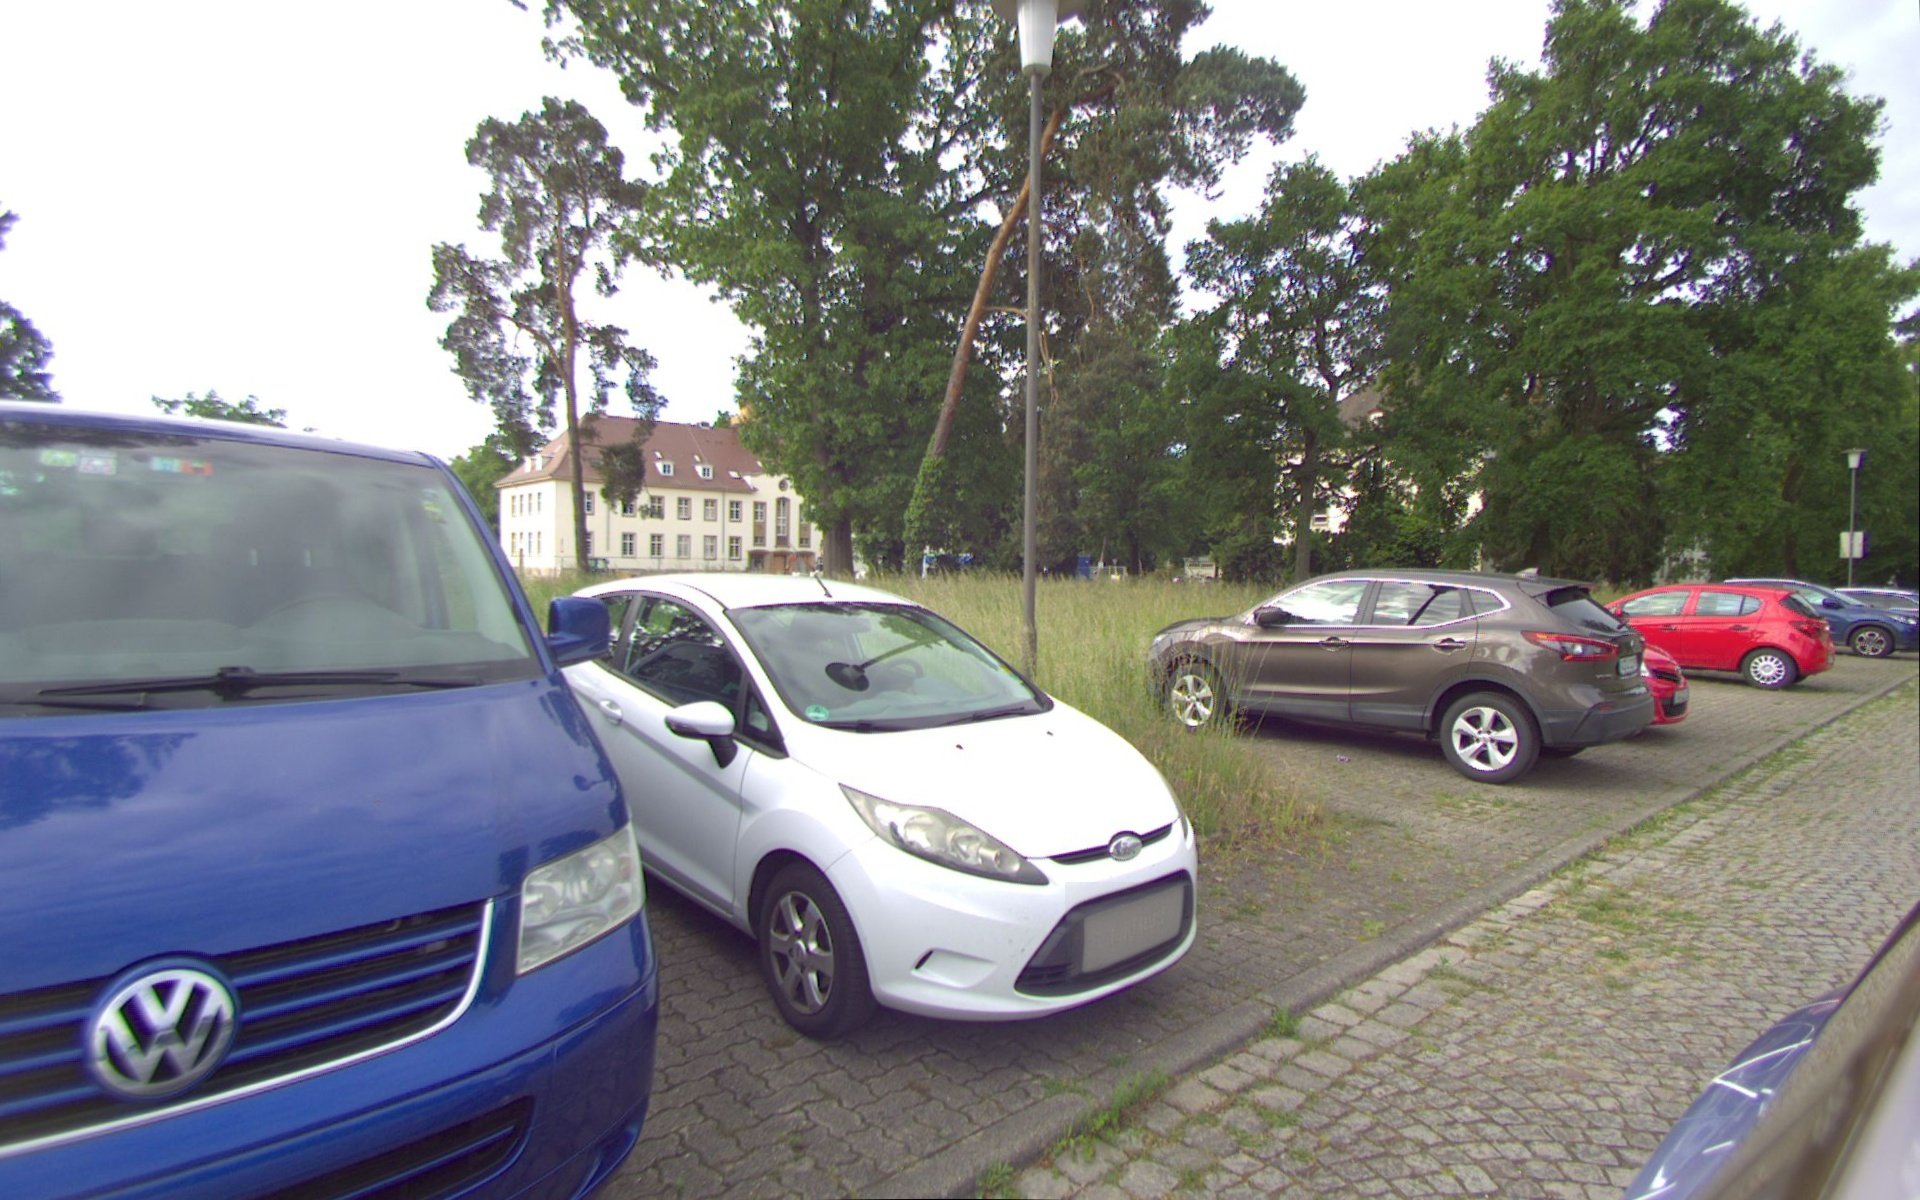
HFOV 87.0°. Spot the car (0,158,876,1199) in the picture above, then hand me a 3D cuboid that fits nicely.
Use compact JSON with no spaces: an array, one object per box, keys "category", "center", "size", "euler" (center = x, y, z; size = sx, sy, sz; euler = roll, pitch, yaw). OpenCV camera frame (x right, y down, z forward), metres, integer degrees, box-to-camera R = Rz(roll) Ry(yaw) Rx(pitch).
[{"category":"car","center":[-2.512,0.347,3.092],"size":[1.969,1.969,4.817],"euler":[-1,4,-42]}]

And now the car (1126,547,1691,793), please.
[{"category":"car","center":[3.756,0.388,9.118],"size":[1.791,1.618,4.268],"euler":[-1,3,-42]}]

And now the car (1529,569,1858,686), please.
[{"category":"car","center":[11.312,0.328,15.819],"size":[1.555,1.477,3.891],"euler":[-1,3,-42]}]

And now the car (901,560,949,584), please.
[{"category":"car","center":[-3.052,-2.405,88.001],"size":[1.994,2.038,3.937],"euler":[2,2,44]}]

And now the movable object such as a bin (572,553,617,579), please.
[{"category":"movable object such as a bin","center":[-29.452,-2.743,81.527],"size":[3.178,2.038,1.683],"euler":[0,2,-29]}]

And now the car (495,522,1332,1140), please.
[{"category":"car","center":[-0.578,0.498,4.706],"size":[1.810,1.489,3.871],"euler":[-1,6,-42]}]

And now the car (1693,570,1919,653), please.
[{"category":"car","center":[18.939,0.193,22.384],"size":[1.555,1.556,4.147],"euler":[-1,3,-42]}]

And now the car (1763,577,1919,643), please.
[{"category":"car","center":[22.589,0.231,25.159],"size":[1.555,1.443,3.875],"euler":[-1,3,-42]}]

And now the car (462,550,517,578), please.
[{"category":"car","center":[-41.634,-3.198,89.482],"size":[5.848,2.268,2.282],"euler":[4,3,42]}]

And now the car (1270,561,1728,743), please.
[{"category":"car","center":[5.650,0.392,11.027],"size":[1.735,1.504,4.015],"euler":[0,3,-40]}]
